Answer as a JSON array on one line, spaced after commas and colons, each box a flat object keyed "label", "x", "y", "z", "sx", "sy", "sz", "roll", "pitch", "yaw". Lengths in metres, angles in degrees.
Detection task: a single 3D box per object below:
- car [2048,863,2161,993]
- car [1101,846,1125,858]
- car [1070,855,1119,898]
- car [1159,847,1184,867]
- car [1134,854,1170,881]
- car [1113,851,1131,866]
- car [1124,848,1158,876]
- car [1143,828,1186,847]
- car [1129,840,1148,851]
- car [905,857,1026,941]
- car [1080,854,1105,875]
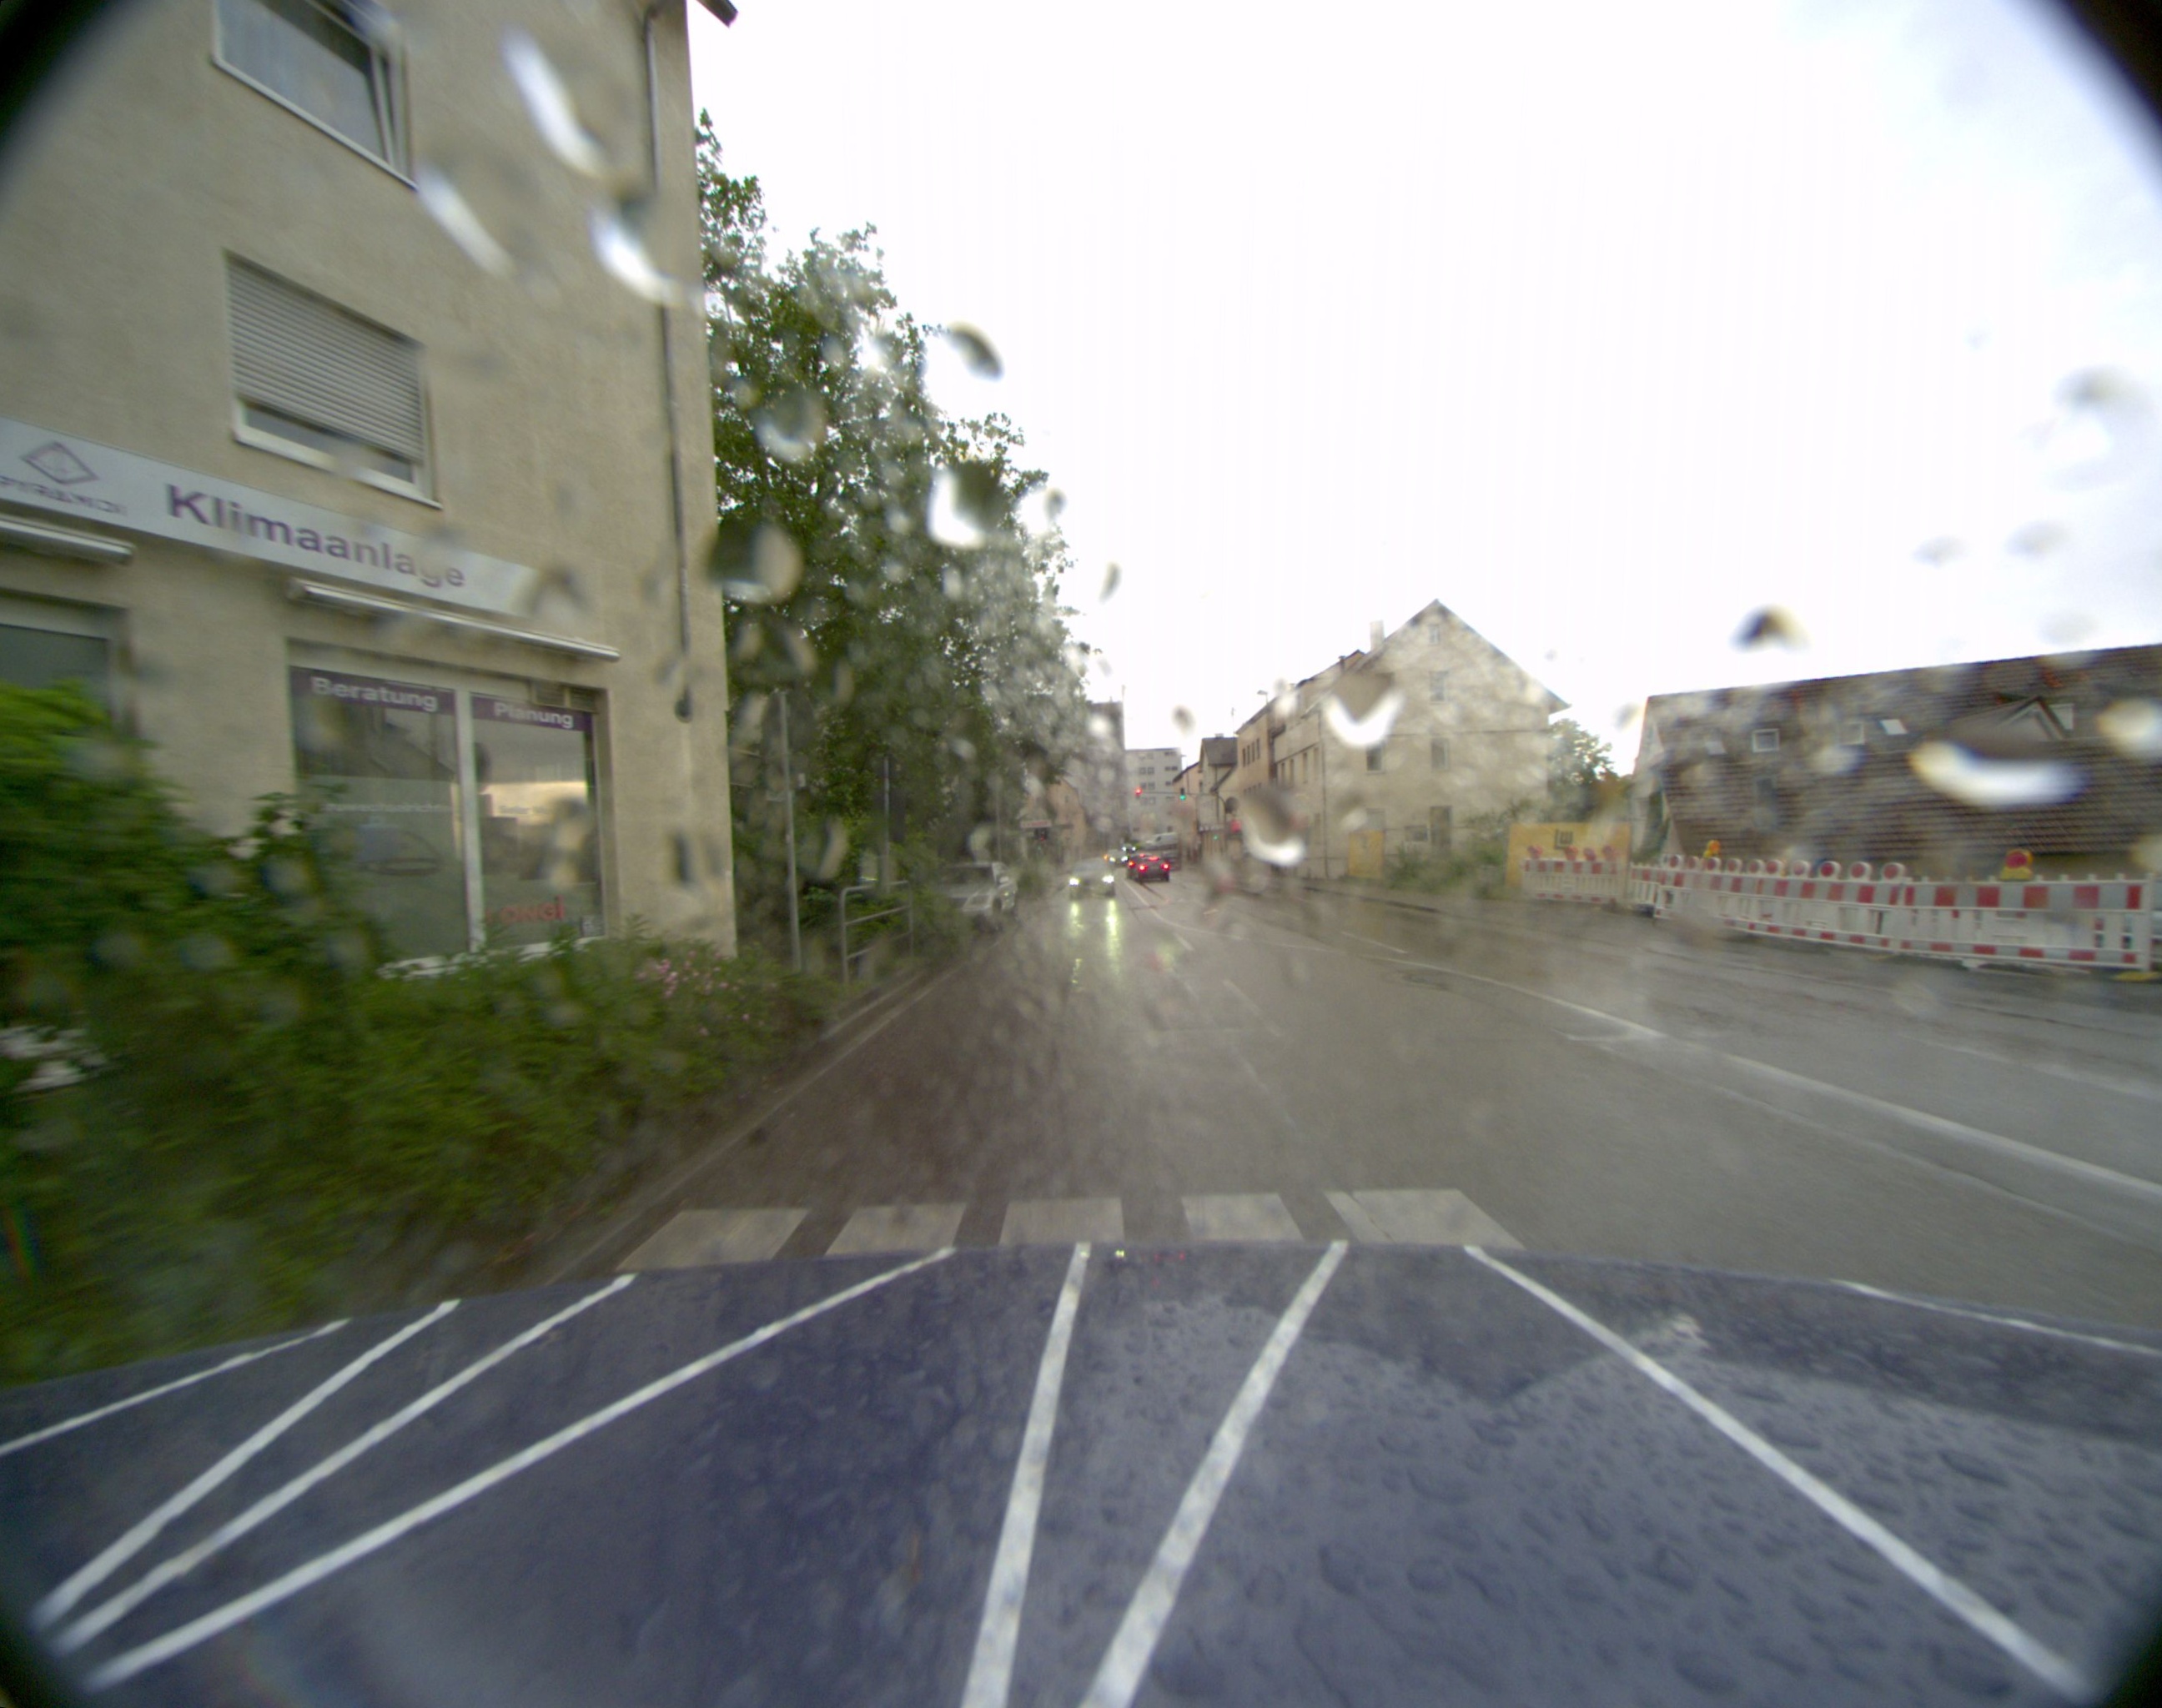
[{"label": "car", "x": 13.252, "y": 0.936, "z": 8.373, "sx": 3.510, "sy": 1.381, "sz": 1.650, "roll": 5, "pitch": -2, "yaw": -8}, {"label": "car", "x": 4.046, "y": -0.259, "z": 94.528, "sx": 1.684, "sy": 1.452, "sz": 4.005, "roll": -3, "pitch": 0, "yaw": 21}, {"label": "car", "x": 0.552, "y": 0.889, "z": 31.736, "sx": 1.820, "sy": 1.562, "sz": 4.275, "roll": -3, "pitch": 0, "yaw": 0}, {"label": "car", "x": 7.573, "y": 0.267, "z": 63.843, "sx": 1.820, "sy": 1.562, "sz": 4.276, "roll": -2, "pitch": 0, "yaw": 3}, {"label": "car", "x": 4.022, "y": 0.721, "z": 43.515, "sx": 1.711, "sy": 1.375, "sz": 3.669, "roll": -3, "pitch": 0, "yaw": 1}, {"label": "car", "x": 4.141, "y": 0.440, "z": 76.620, "sx": 1.686, "sy": 1.452, "sz": 4.001, "roll": -3, "pitch": 0, "yaw": 3}, {"label": "car", "x": 3.900, "y": 0.531, "z": 49.988, "sx": 1.820, "sy": 1.635, "sz": 4.275, "roll": -3, "pitch": 0, "yaw": 0}, {"label": "car", "x": 13.654, "y": -2.707, "z": 123.930, "sx": 6.431, "sy": 2.506, "sz": 2.670, "roll": -4, "pitch": 0, "yaw": -32}, {"label": "car", "x": 8.647, "y": -1.320, "z": 113.717, "sx": 1.547, "sy": 1.525, "sz": 3.694, "roll": -3, "pitch": 0, "yaw": 24}, {"label": "car", "x": -2.699, "y": 0.988, "z": 18.934, "sx": 1.935, "sy": 1.770, "sz": 4.735, "roll": -2, "pitch": 0, "yaw": 4}, {"label": "car", "x": 0.828, "y": 0.770, "z": 57.376, "sx": 1.687, "sy": 1.413, "sz": 3.999, "roll": -3, "pitch": 0, "yaw": -1}]
